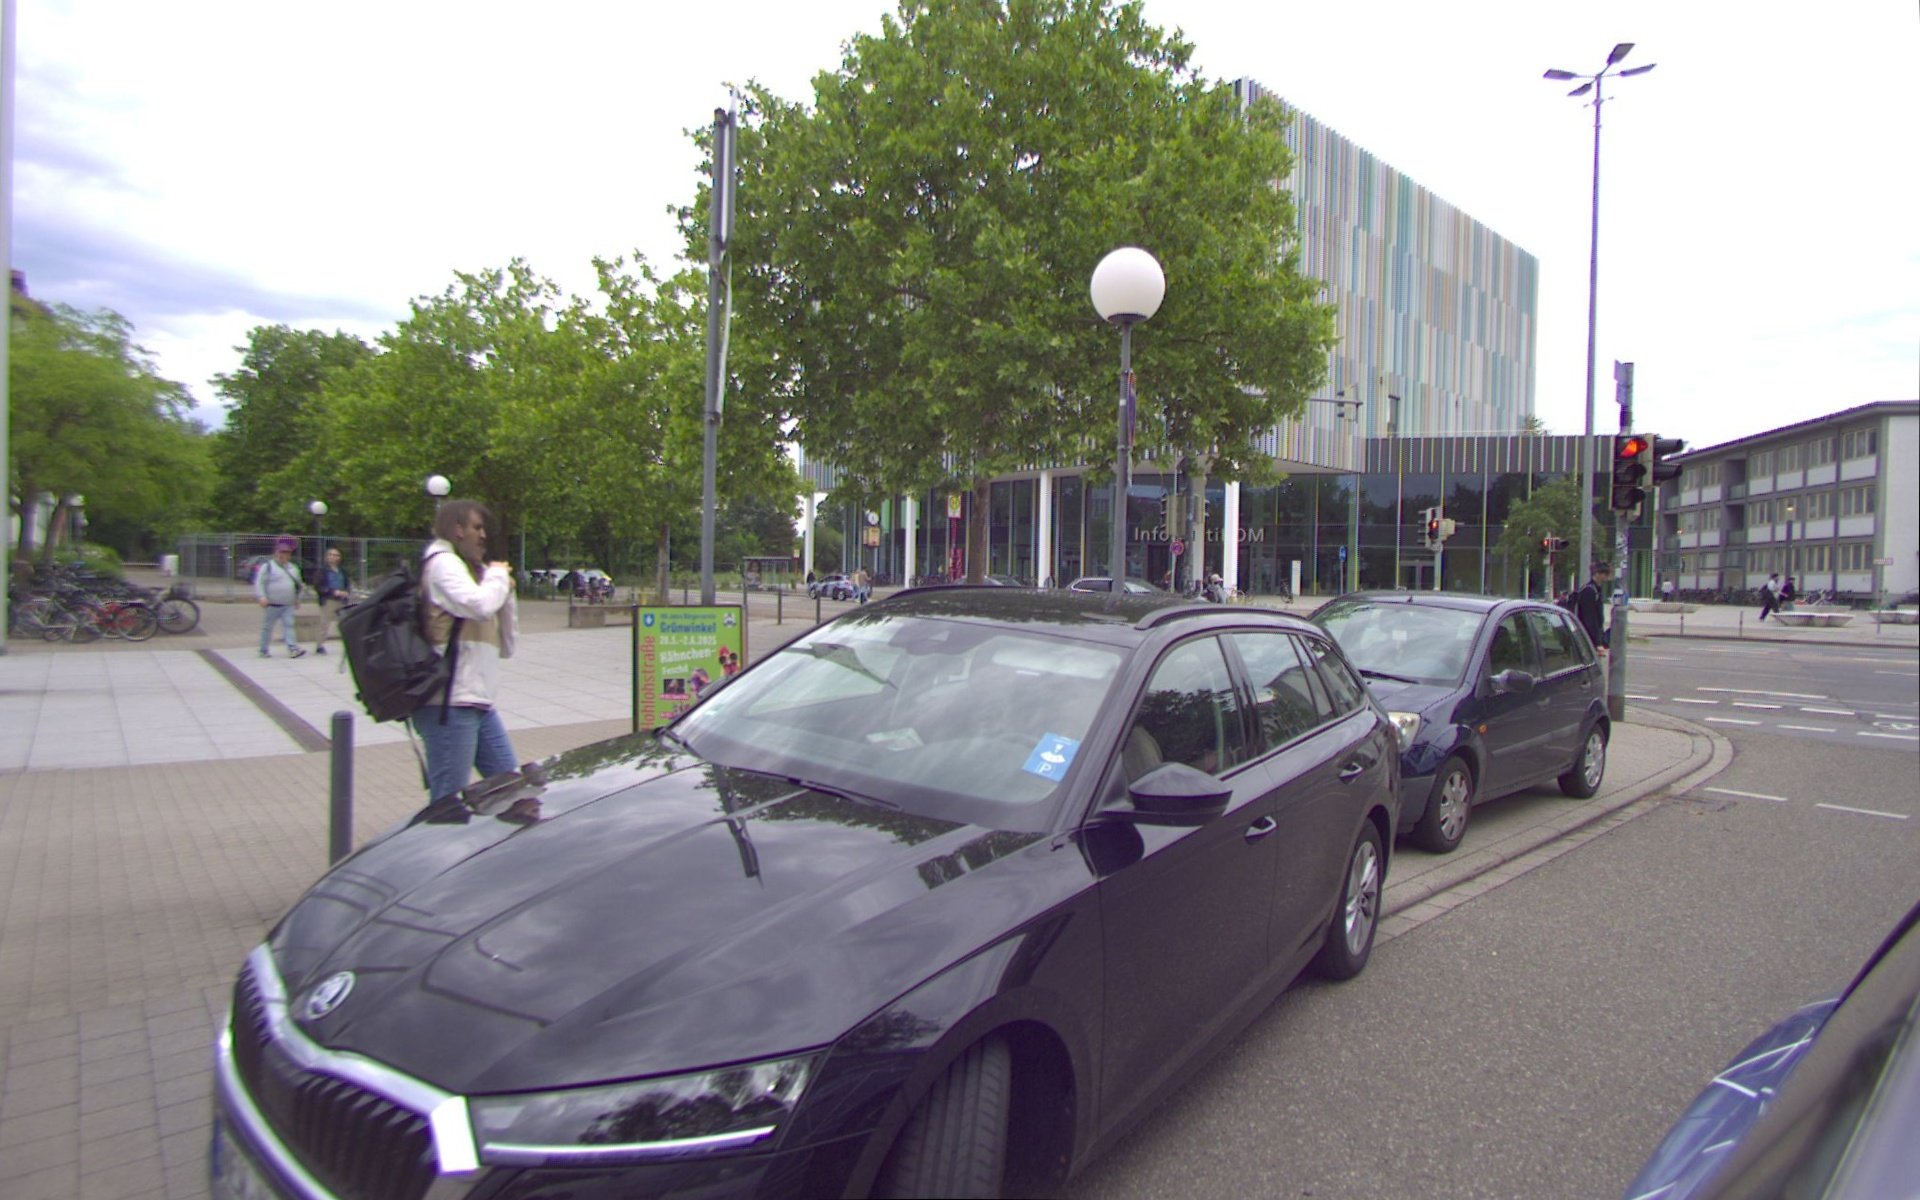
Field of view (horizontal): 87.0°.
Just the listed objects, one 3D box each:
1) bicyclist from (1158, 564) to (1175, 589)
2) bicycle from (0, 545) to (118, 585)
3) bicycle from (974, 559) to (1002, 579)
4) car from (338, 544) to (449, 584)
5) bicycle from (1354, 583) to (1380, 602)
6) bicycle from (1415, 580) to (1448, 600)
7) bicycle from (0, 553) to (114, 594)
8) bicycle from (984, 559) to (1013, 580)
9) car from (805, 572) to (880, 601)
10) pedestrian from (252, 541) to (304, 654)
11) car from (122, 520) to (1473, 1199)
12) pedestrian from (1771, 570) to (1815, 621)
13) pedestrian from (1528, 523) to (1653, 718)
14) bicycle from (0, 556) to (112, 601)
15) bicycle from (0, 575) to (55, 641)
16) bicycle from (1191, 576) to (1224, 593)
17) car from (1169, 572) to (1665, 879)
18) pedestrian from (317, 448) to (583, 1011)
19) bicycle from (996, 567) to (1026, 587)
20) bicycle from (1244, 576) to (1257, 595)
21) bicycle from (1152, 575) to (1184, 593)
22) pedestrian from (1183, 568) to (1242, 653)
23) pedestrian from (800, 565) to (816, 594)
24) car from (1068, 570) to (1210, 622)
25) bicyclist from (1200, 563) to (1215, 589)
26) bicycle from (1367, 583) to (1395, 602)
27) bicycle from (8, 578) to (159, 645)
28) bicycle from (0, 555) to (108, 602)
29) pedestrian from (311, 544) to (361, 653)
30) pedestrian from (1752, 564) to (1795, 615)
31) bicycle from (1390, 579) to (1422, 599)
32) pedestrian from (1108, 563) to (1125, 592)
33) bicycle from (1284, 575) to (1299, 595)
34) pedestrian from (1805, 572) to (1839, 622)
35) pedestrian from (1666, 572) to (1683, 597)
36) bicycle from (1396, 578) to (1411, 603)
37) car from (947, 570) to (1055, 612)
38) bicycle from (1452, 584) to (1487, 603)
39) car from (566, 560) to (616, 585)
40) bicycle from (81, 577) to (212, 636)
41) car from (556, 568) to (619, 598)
[{"bbox_3d":[11.832,-1.364,57.883,0.607,1.399,0.719,0,1,-33],"label":"bicyclist"},{"bbox_3d":[-28.174,-1.077,31.195,3.330,1.184,1.055,0,2,-36],"label":"bicycle"},{"bbox_3d":[1.977,-2.121,70.480,2.069,1.275,0.627,3,-2,-44],"label":"bicycle"},{"bbox_3d":[-26.127,-1.656,46.790,1.985,1.774,4.021,2,2,31],"label":"car"},{"bbox_3d":[21.567,-0.425,53.635,0.474,0.947,2.011,1,1,-2],"label":"bicycle"},{"bbox_3d":[24.675,-0.540,52.943,0.474,0.947,2.014,0,2,-10],"label":"bicycle"},{"bbox_3d":[-27.527,-0.790,30.271,3.331,1.184,1.055,-1,2,-36],"label":"bicycle"},{"bbox_3d":[2.670,-2.104,69.819,2.065,1.275,0.628,3,-1,-37],"label":"bicycle"},{"bbox_3d":[-6.575,-0.759,56.194,1.966,1.486,4.218,3,0,-44],"label":"car"},{"bbox_3d":[-10.758,-0.058,15.960,0.666,1.736,0.673,-1,2,-36],"label":"pedestrian"},{"bbox_3d":[0.233,0.588,3.413,1.857,1.418,4.419,5,3,37],"label":"car"},{"bbox_3d":[30.287,-0.188,36.822,0.831,1.810,0.893,1,1,6],"label":"pedestrian"},{"bbox_3d":[6.684,0.202,10.759,0.742,1.976,0.795,1,1,-17],"label":"pedestrian"},{"bbox_3d":[-26.875,-0.629,29.378,3.330,1.185,1.055,3,-1,-36],"label":"bicycle"},{"bbox_3d":[-15.968,0.134,16.390,0.454,1.062,1.912,3,2,33],"label":"bicycle"},{"bbox_3d":[13.934,-0.874,57.008,1.876,0.937,0.485,0,2,-24],"label":"bicycle"},{"bbox_3d":[3.408,0.609,7.177,4.034,1.520,1.626,-1,4,-41],"label":"car"},{"bbox_3d":[-1.906,0.405,3.792,0.805,1.809,0.794,0,1,-30],"label":"pedestrian"},{"bbox_3d":[3.494,-1.550,68.805,2.065,1.275,0.628,3,-1,-37],"label":"bicycle"},{"bbox_3d":[16.585,-0.826,57.750,0.476,1.058,1.912,1,1,9],"label":"bicycle"},{"bbox_3d":[11.857,-0.919,57.774,0.607,0.937,1.918,0,2,-32],"label":"bicycle"},{"bbox_3d":[5.083,0.203,20.377,0.777,1.646,0.759,1,2,-28],"label":"pedestrian"},{"bbox_3d":[-9.514,-1.285,63.415,0.794,1.832,0.588,0,1,-37],"label":"pedestrian"},{"bbox_3d":[5.742,-0.181,32.830,1.966,1.507,4.285,-2,3,-42],"label":"car"},{"bbox_3d":[13.928,-1.352,56.988,0.593,1.487,0.485,0,1,-24],"label":"bicyclist"},{"bbox_3d":[22.292,-0.398,53.586,0.538,0.947,2.011,1,1,-2],"label":"bicycle"},{"bbox_3d":[-14.839,0.186,17.182,0.456,1.062,1.905,3,2,44],"label":"bicycle"},{"bbox_3d":[-26.128,-0.616,28.338,3.330,1.185,1.055,3,-1,-36],"label":"bicycle"},{"bbox_3d":[-10.193,-0.037,16.538,0.645,1.736,0.585,-1,1,-36],"label":"pedestrian"},{"bbox_3d":[29.698,-0.400,36.976,0.831,1.810,0.893,1,1,6],"label":"pedestrian"},{"bbox_3d":[23.354,-0.588,53.023,0.474,0.947,2.014,0,2,-10],"label":"bicycle"},{"bbox_3d":[10.140,-1.457,65.628,0.788,1.810,0.762,-1,3,-40],"label":"pedestrian"},{"bbox_3d":[17.901,-0.816,54.657,0.476,1.058,1.912,1,2,9],"label":"bicycle"},{"bbox_3d":[29.468,-0.116,34.600,0.607,1.687,0.624,1,0,2],"label":"pedestrian"},{"bbox_3d":[52.271,-1.133,74.017,0.765,1.811,0.758,2,2,15],"label":"pedestrian"},{"bbox_3d":[20.281,-0.451,46.329,0.478,1.058,1.773,1,2,19],"label":"bicycle"},{"bbox_3d":[1.496,-0.379,38.240,1.964,1.471,3.997,-1,2,-39],"label":"car"},{"bbox_3d":[26.710,-0.353,53.090,0.474,0.947,2.014,0,2,-10],"label":"bicycle"},{"bbox_3d":[-25.160,-1.888,68.927,1.964,1.638,4.191,0,2,-39],"label":"car"},{"bbox_3d":[-15.435,0.117,19.243,0.456,1.062,1.905,3,2,44],"label":"bicycle"},{"bbox_3d":[-19.665,-0.910,53.399,1.964,1.530,3.997,0,2,-39],"label":"car"}]
